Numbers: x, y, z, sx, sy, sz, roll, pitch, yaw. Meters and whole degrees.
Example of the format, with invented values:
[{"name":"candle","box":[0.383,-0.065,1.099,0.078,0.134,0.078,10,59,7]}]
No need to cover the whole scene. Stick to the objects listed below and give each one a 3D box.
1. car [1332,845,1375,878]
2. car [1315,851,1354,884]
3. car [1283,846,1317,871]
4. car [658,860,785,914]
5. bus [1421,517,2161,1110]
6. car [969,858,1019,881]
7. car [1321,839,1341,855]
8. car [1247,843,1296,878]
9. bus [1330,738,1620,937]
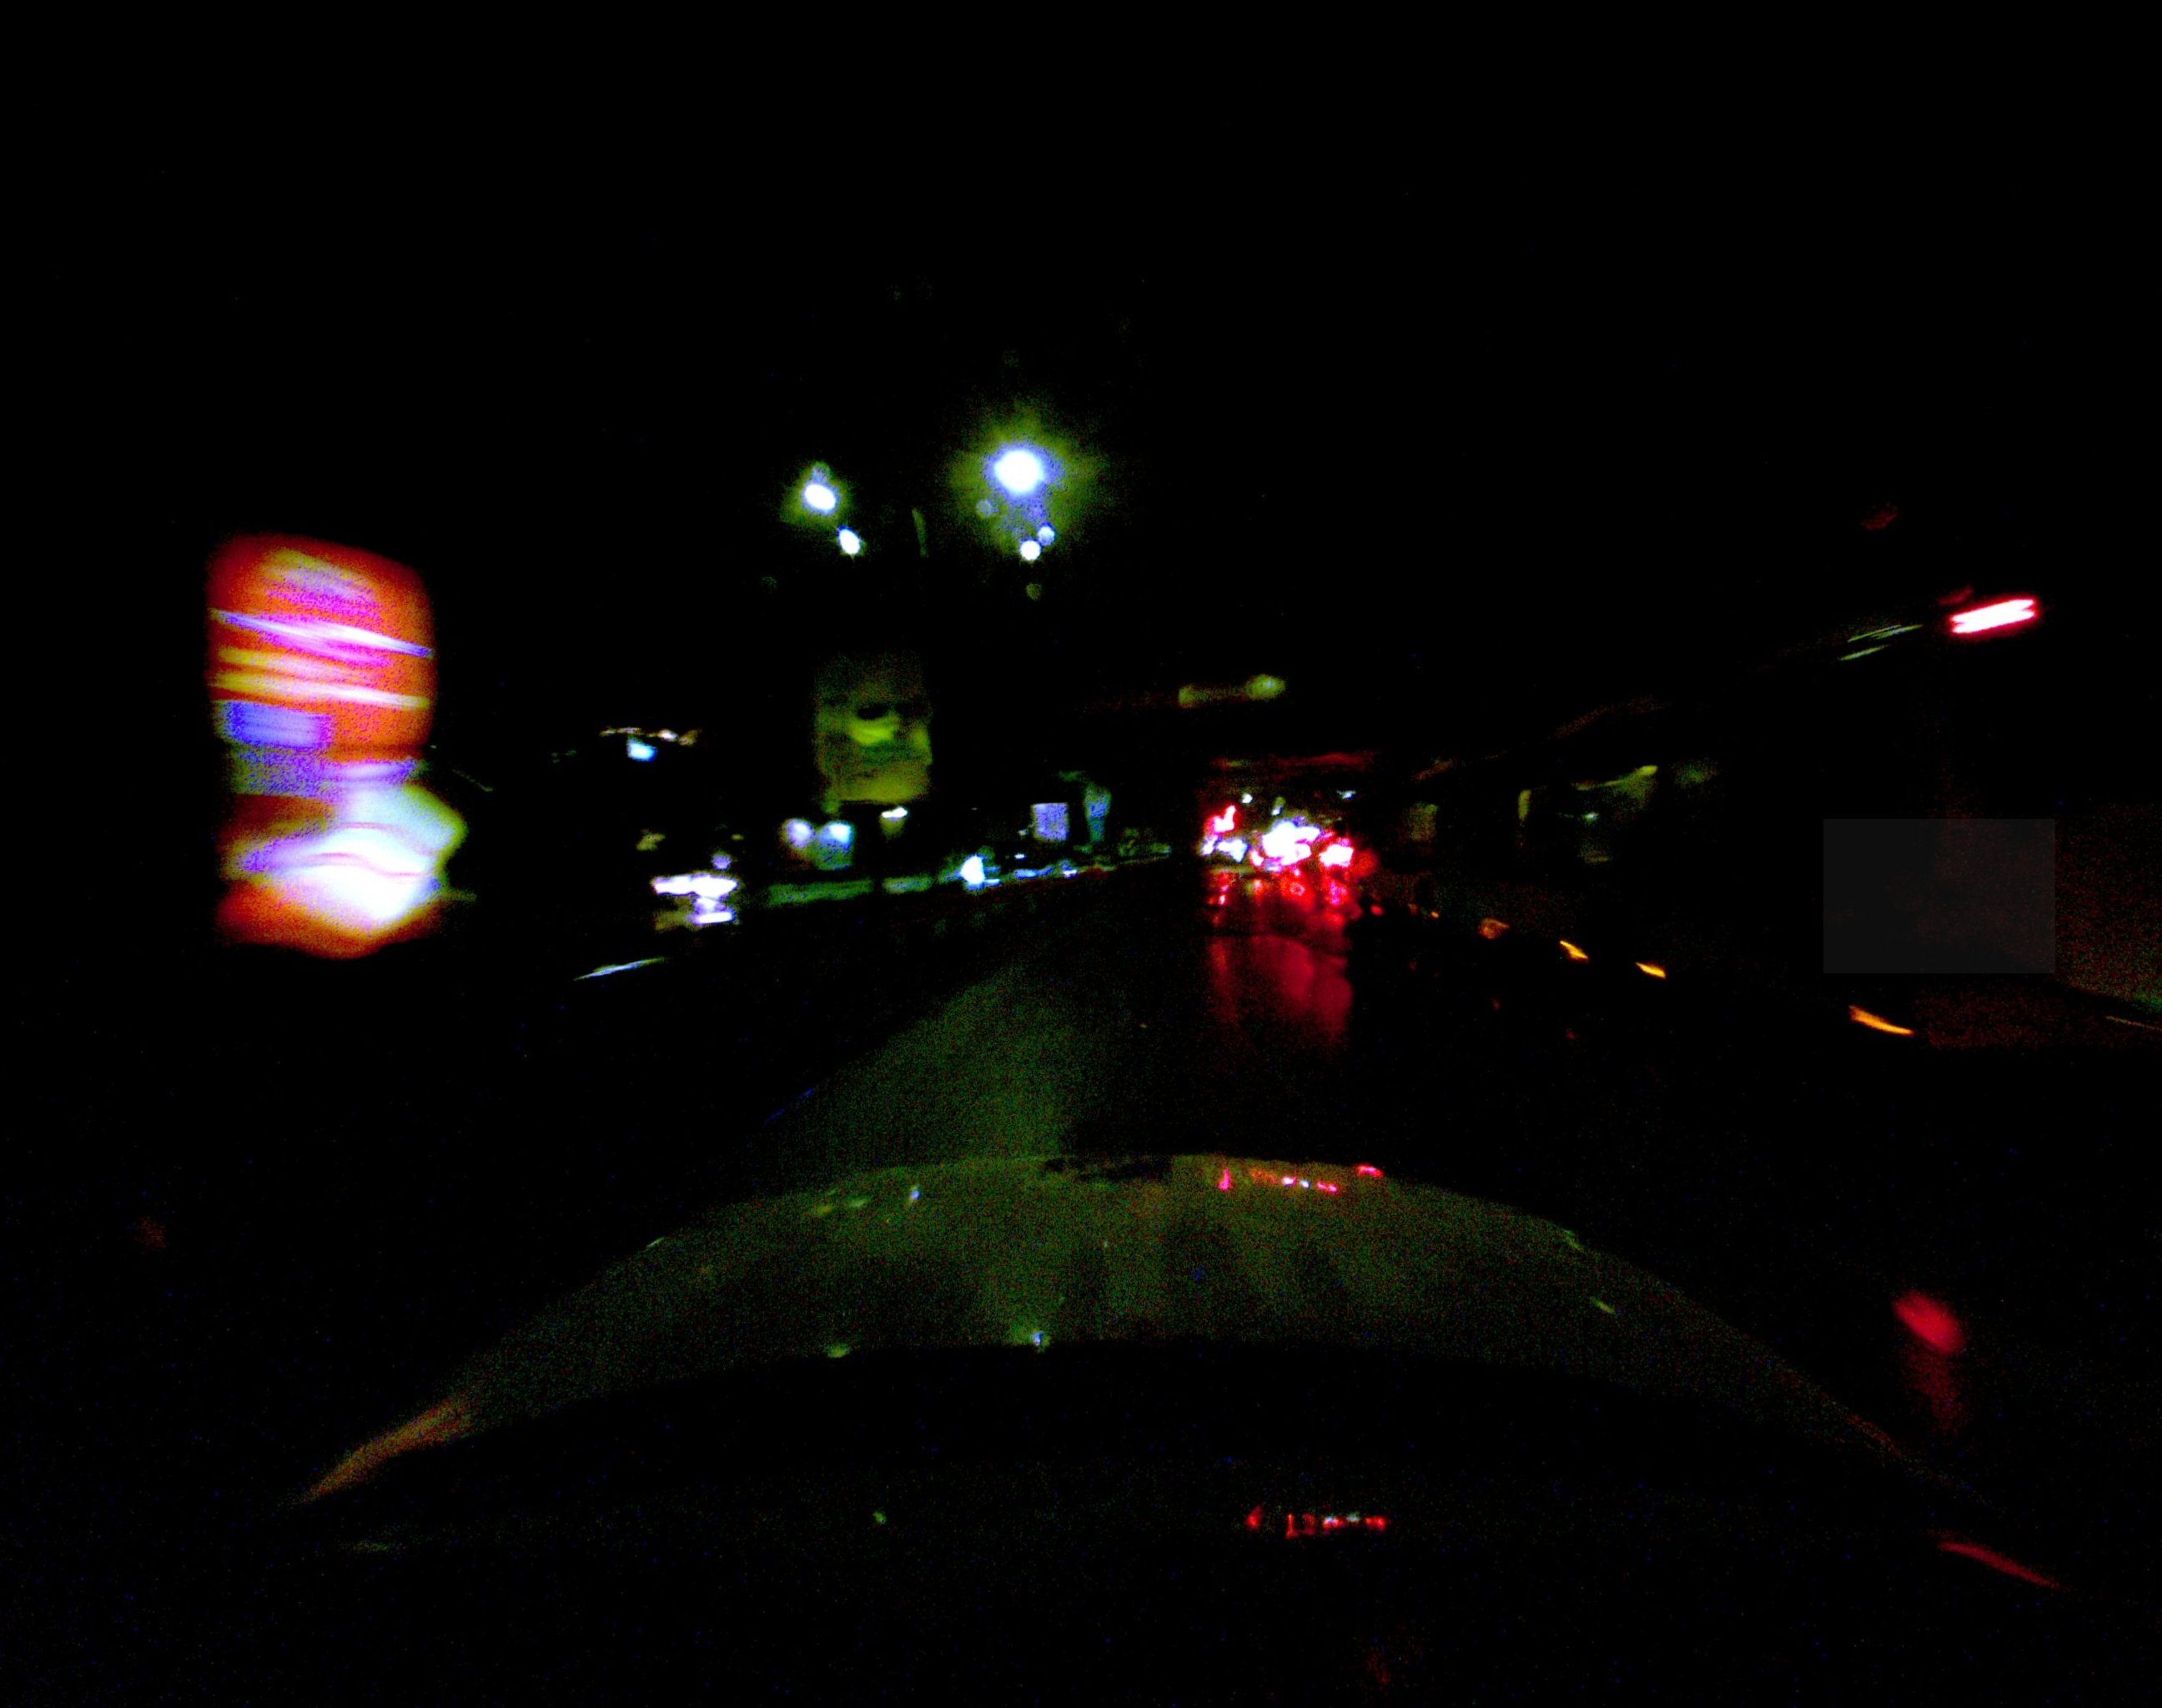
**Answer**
[{"name":"car","box":[13.389,0.325,39.855,1.760,1.501,4.021,-1,0,21]},{"name":"car","box":[14.244,0.729,45.700,1.772,1.684,4.021,-1,0,21]},{"name":"car","box":[15.167,0.309,56.358,1.772,1.684,4.021,-2,-1,21]},{"name":"car","box":[-10.649,0.926,24.455,1.557,1.427,3.962,-1,0,9]},{"name":"bus","box":[6.703,-0.228,8.887,3.028,3.212,9.065,-1,0,6]},{"name":"car","box":[-5.298,0.913,50.013,1.842,1.288,4.144,-1,0,11]},{"name":"car","box":[27.814,-0.743,90.582,1.772,1.684,4.021,-1,0,21]},{"name":"car","box":[9.602,0.293,40.790,1.772,1.684,4.021,-1,0,21]},{"name":"bus","box":[7.810,-0.248,17.847,3.026,3.212,9.070,-1,0,8]}]
